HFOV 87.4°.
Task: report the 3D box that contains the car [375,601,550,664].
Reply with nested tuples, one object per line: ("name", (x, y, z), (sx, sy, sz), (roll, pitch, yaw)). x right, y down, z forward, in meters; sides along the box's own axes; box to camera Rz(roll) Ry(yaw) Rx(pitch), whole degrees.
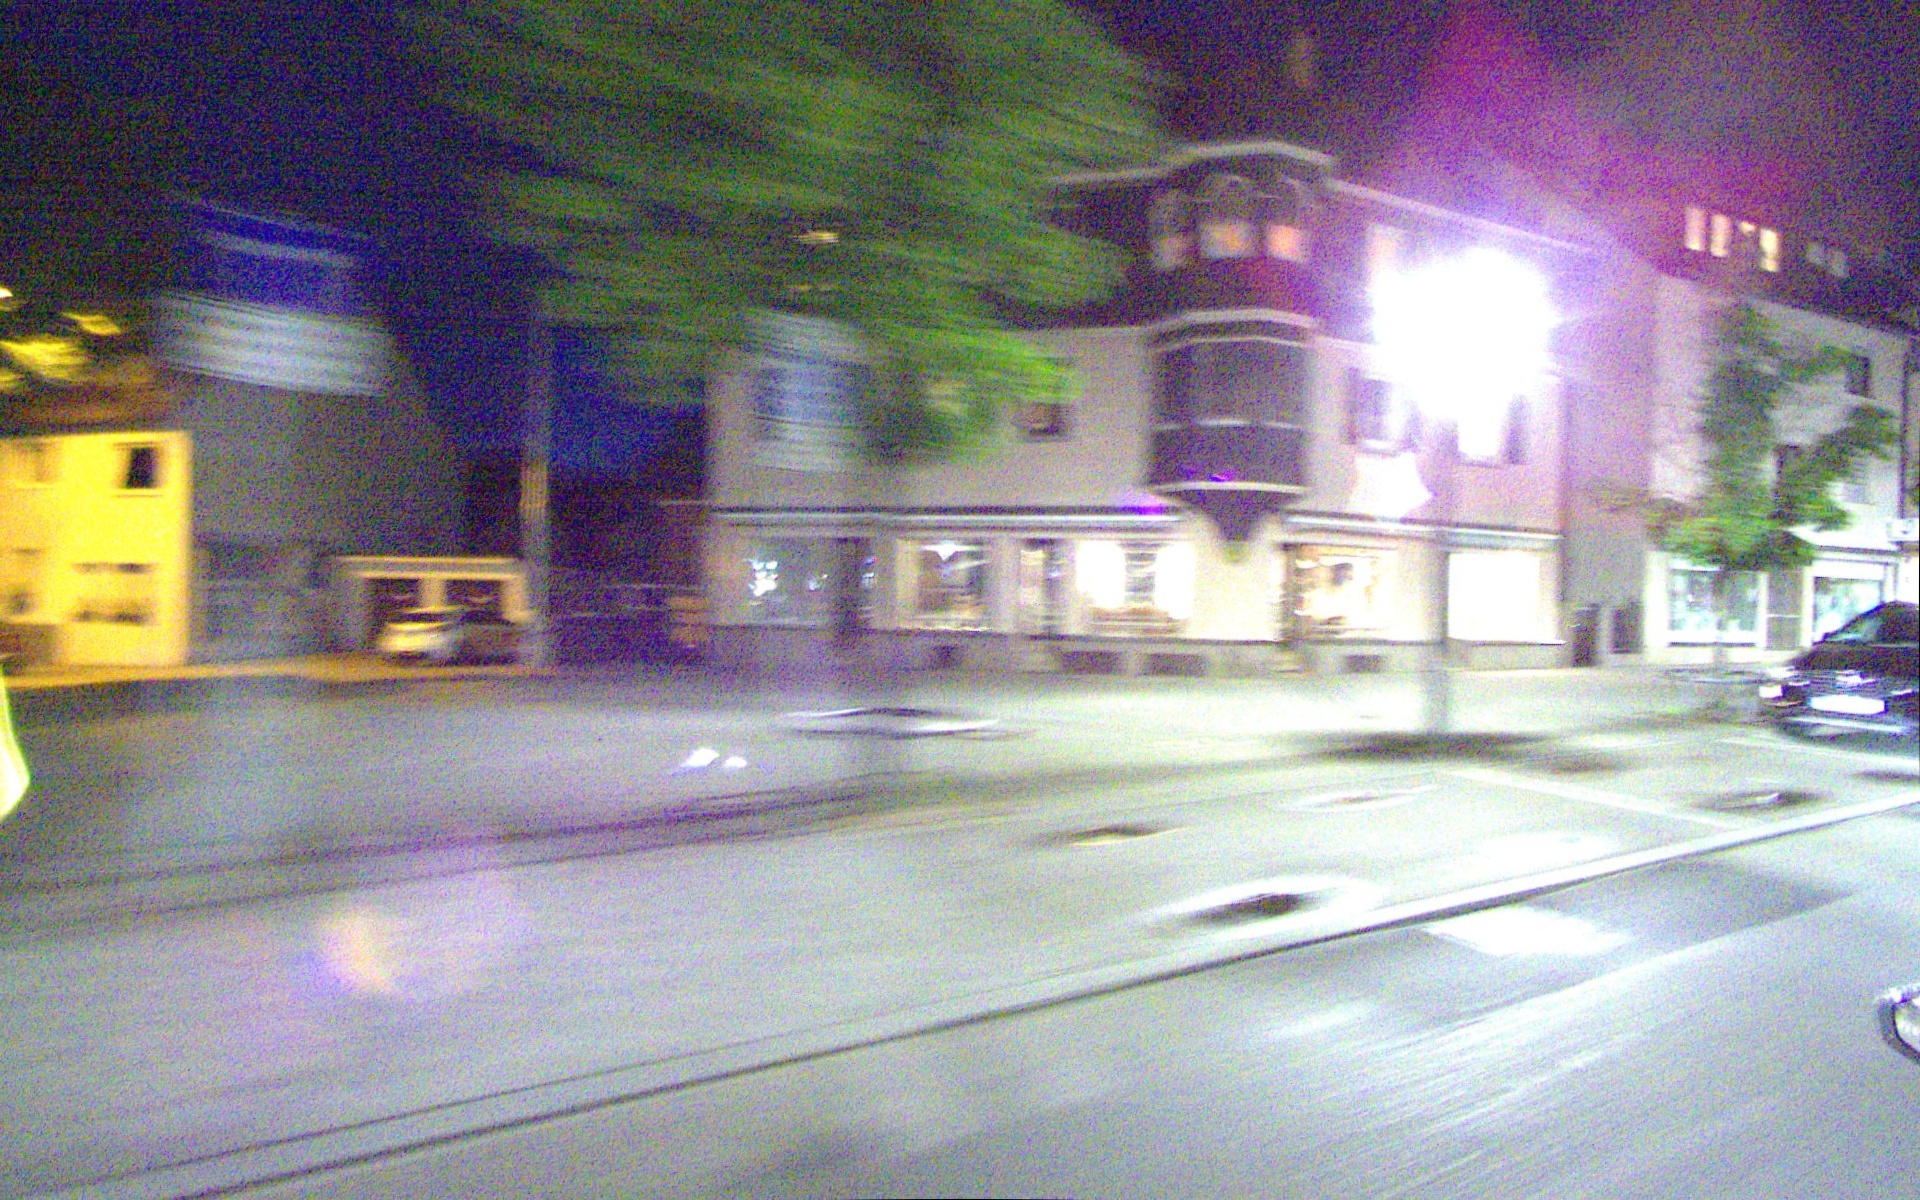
("car", (-12.463, 0.786, 25.475), (1.882, 1.461, 4.002), (0, -1, 13))

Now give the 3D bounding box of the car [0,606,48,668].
("car", (-23.319, 0.846, 22.933), (3.919, 1.394, 1.822), (-1, -2, 14))

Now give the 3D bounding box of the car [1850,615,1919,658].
("car", (33.264, 1.251, 34.127), (1.816, 1.457, 4.155), (1, -3, -25))

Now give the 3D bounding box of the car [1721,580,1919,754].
("car", (11.434, 0.716, 11.905), (4.942, 1.714, 2.008), (1, 1, -29))
